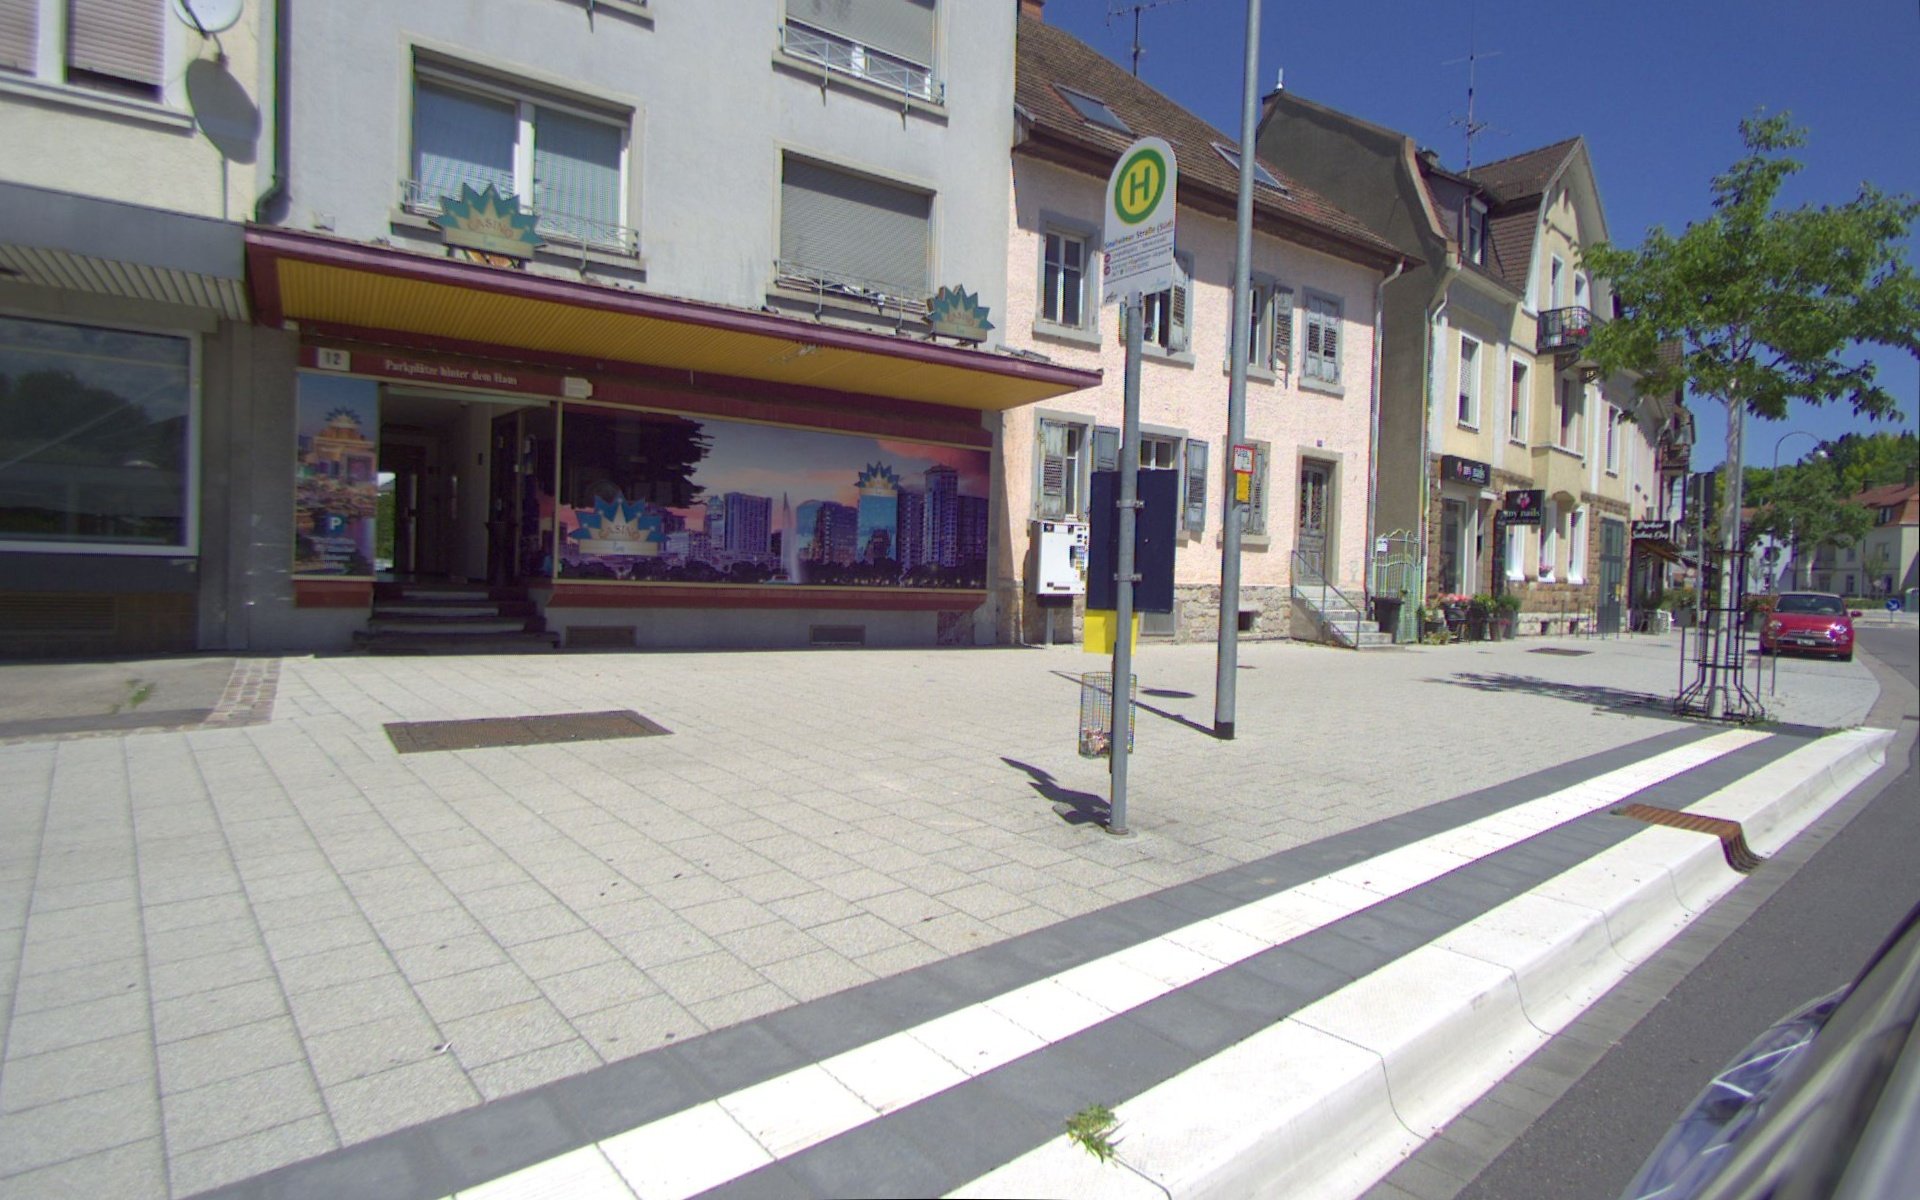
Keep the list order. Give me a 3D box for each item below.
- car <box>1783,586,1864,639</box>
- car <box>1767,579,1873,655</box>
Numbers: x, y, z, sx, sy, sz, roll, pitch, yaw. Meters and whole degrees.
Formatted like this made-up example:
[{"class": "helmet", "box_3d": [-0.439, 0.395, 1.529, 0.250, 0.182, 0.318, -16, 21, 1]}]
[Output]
[{"class": "car", "box_3d": [28.065, 0.350, 32.988, 1.727, 1.490, 4.264, 5, 4, 38]}, {"class": "car", "box_3d": [19.723, 0.338, 23.163, 1.679, 1.532, 3.334, 4, 3, 42]}]
